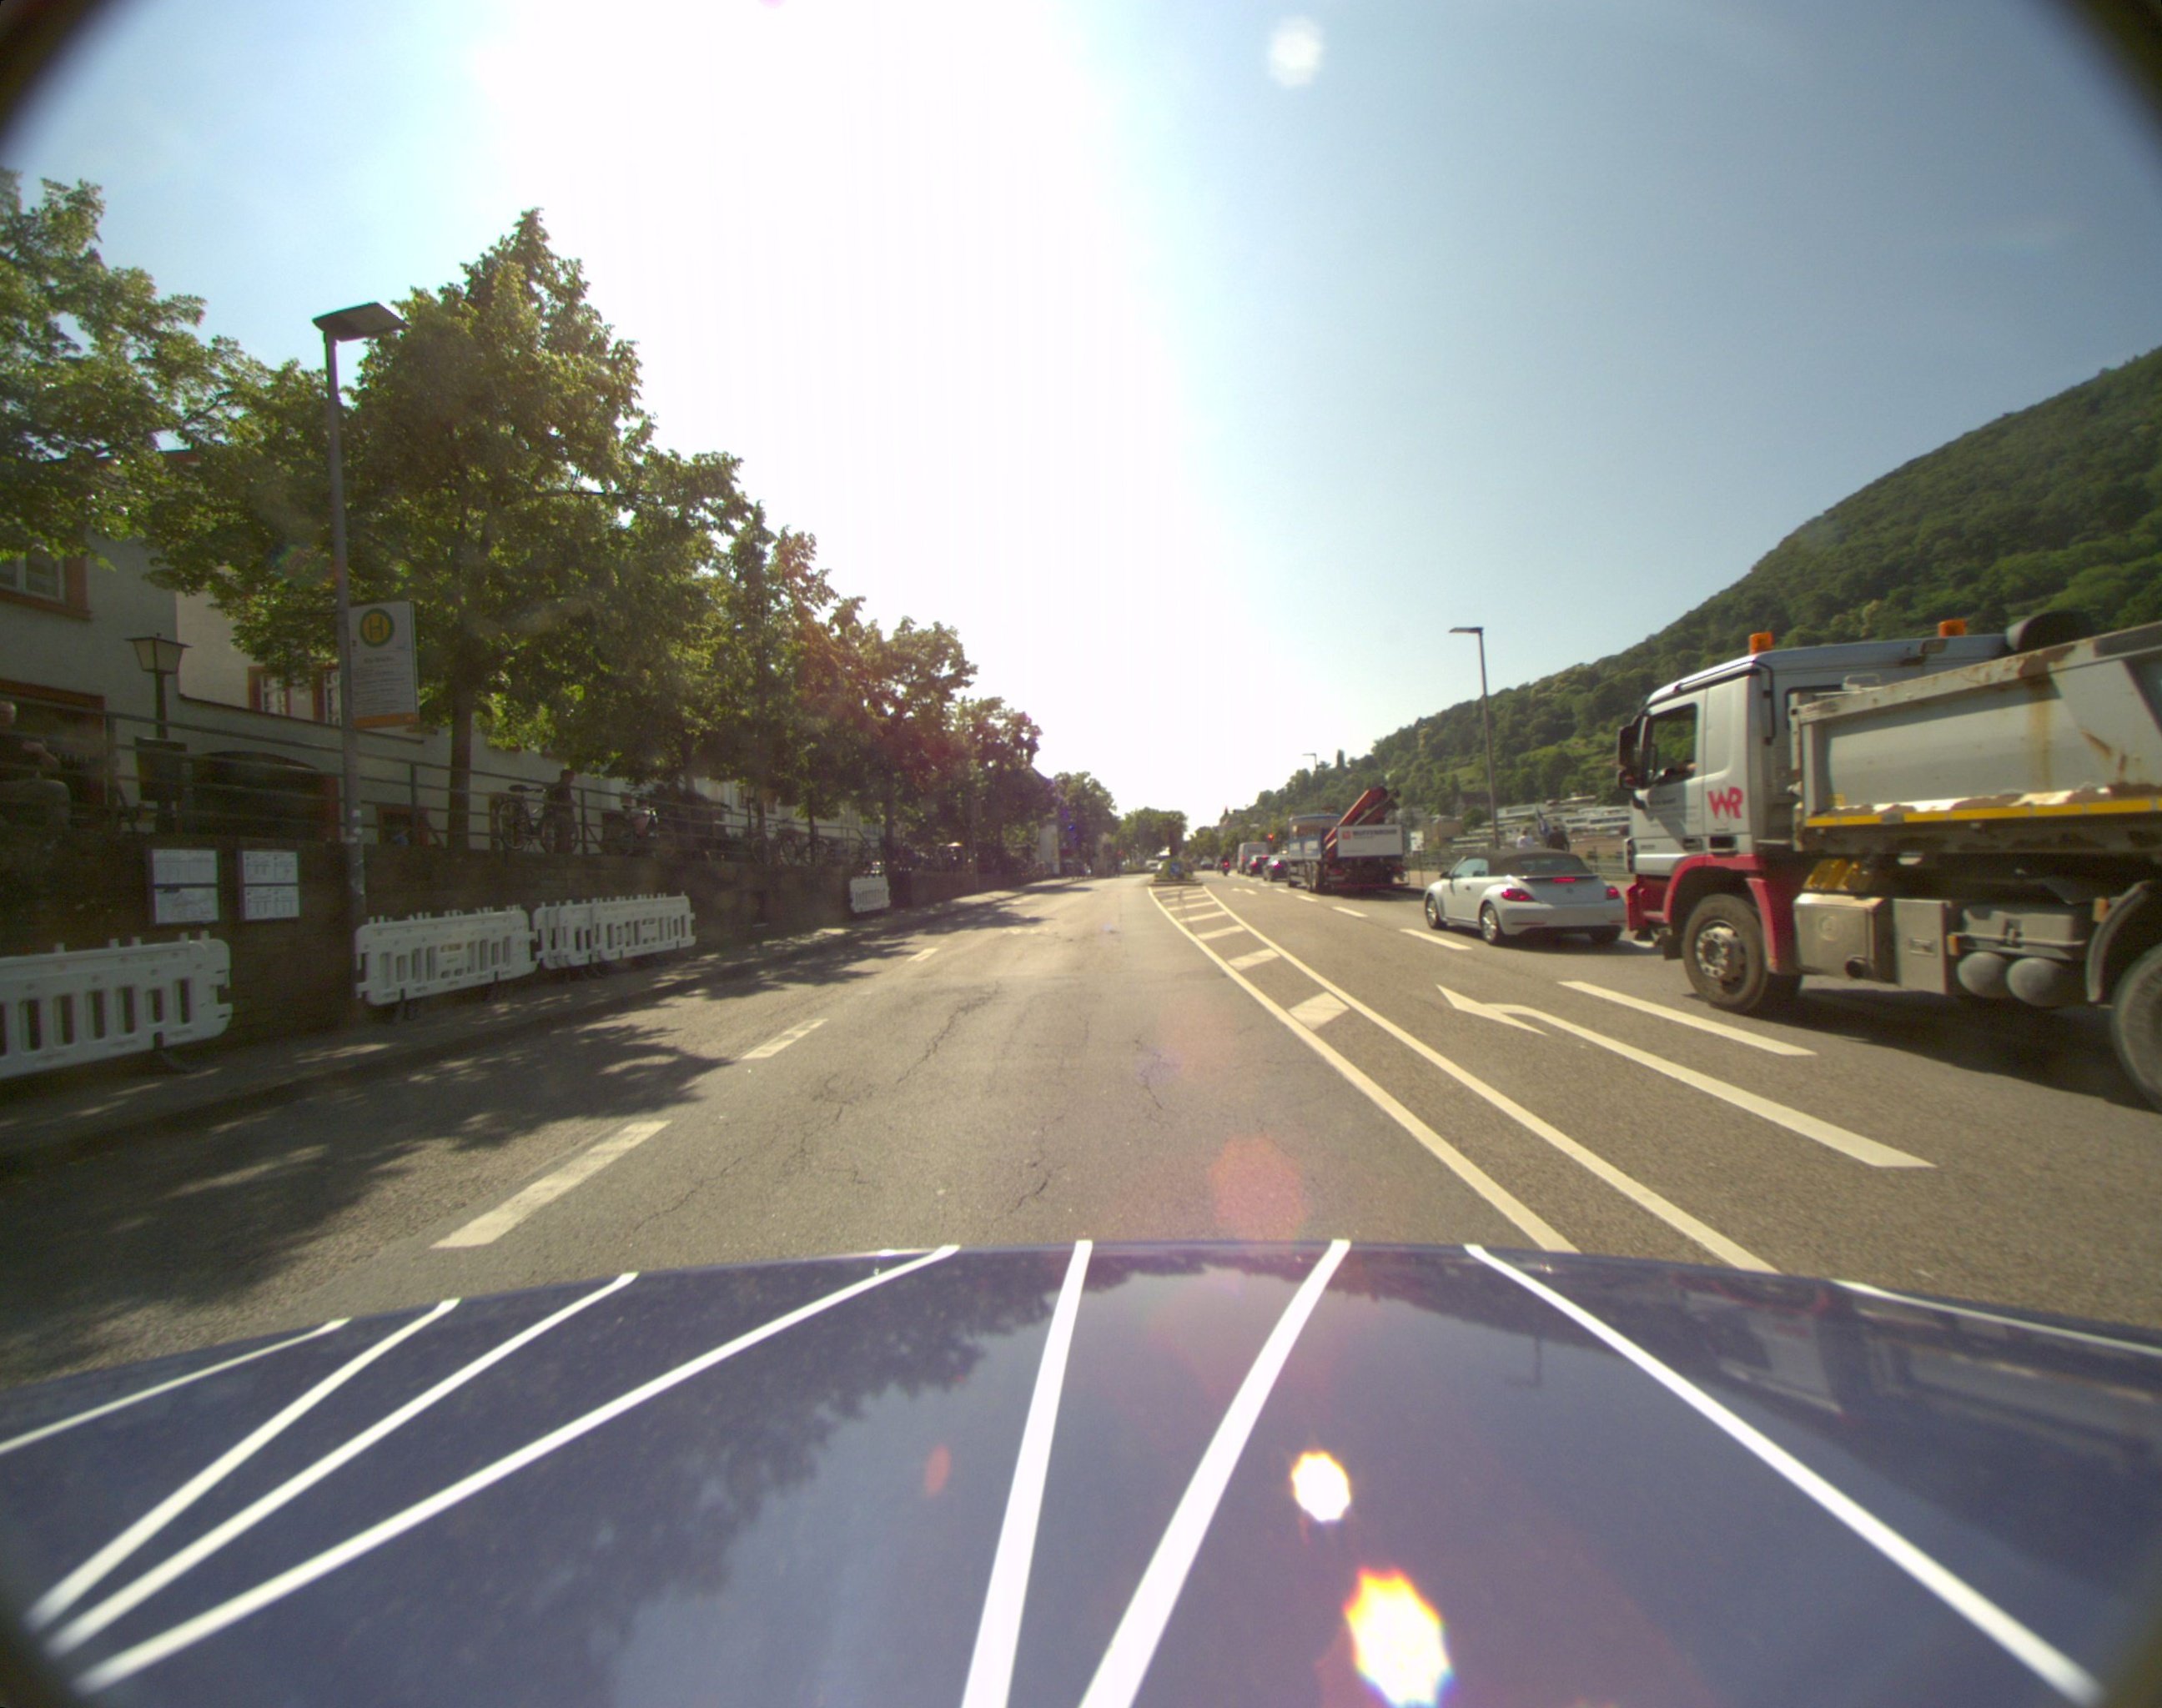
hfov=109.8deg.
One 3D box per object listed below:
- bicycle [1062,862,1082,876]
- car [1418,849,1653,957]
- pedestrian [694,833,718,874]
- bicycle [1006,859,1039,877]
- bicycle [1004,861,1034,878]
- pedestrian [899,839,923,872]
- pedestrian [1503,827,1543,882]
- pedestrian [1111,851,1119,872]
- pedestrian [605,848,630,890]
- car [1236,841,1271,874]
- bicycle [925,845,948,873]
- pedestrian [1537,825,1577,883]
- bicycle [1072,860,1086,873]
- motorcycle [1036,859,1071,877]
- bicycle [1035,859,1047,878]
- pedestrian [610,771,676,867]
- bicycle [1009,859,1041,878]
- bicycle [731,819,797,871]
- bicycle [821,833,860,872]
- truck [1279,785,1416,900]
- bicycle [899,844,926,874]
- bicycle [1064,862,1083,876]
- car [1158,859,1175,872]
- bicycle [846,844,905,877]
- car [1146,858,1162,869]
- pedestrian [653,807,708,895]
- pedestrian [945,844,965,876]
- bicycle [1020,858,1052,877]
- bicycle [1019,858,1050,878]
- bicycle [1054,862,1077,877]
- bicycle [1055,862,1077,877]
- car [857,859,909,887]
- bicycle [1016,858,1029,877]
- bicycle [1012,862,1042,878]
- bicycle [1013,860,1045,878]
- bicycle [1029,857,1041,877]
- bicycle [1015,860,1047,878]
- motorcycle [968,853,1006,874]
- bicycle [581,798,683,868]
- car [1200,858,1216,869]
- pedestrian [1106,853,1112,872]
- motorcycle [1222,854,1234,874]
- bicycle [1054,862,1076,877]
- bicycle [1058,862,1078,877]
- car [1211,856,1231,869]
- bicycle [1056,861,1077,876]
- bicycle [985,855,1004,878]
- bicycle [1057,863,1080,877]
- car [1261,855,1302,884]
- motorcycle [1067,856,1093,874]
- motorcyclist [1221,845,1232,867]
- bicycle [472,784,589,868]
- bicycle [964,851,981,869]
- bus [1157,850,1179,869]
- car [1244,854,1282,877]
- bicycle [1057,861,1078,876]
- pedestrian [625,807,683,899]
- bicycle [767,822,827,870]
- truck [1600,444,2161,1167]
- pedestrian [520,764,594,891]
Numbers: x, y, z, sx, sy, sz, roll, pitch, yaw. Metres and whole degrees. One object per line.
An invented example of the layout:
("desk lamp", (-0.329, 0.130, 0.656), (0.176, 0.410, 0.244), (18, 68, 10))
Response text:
("bicycle", (-0.750, 1.248, 62.890), (1.628, 1.163, 0.426), (-1, -1, 25))
("car", (7.151, 0.678, 12.485), (1.781, 1.435, 3.999), (-2, 0, 6))
("pedestrian", (-14.470, -0.036, 29.317), (0.469, 1.536, 0.608), (-4, 0, 8))
("bicycle", (-3.939, 0.945, 51.532), (2.159, 1.254, 0.477), (-1, 0, 6))
("bicycle", (-4.136, 1.036, 50.561), (1.953, 1.094, 0.423), (-1, 0, 6))
("pedestrian", (-6.540, 0.060, 29.215), (0.696, 1.257, 0.670), (-2, 0, 2))
("pedestrian", (14.381, 0.014, 24.735), (0.713, 1.696, 0.846), (-5, 0, 8))
("pedestrian", (3.020, 0.661, 67.310), (0.541, 1.767, 0.583), (-1, -1, 11))
("pedestrian", (-16.863, 0.537, 27.662), (0.345, 1.479, 0.325), (-4, 14, 8))
("car", (13.703, 0.284, 60.462), (2.199, 2.511, 4.751), (0, 0, 6))
("bicycle", (-5.425, 0.192, 28.581), (0.298, 0.998, 1.942), (-2, -1, 5))
("pedestrian", (15.240, 0.000, 24.348), (0.769, 1.793, 0.636), (-5, 0, 8))
("bicycle", (-0.155, 0.995, 59.733), (0.539, 1.002, 1.756), (-2, -1, 18))
("motorcycle", (-2.052, 1.033, 56.867), (2.531, 1.267, 0.725), (-2, 0, 29))
("bicycle", (-2.674, 0.948, 50.855), (0.476, 1.254, 2.163), (-1, 0, 5))
("pedestrian", (-8.114, -0.635, 14.110), (0.720, 1.710, 0.712), (-2, 0, 6))
("bicycle", (-3.822, 0.969, 51.986), (2.159, 1.254, 0.421), (-1, 0, 6))
("bicycle", (-7.078, -0.189, 17.045), (0.410, 1.099, 1.736), (-2, 0, 11))
("bicycle", (-7.417, -0.028, 23.460), (0.382, 1.133, 1.935), (-2, -1, 5))
("truck", (9.659, -0.316, 28.972), (2.647, 3.455, 11.114), (-2, 0, 8))
("bicycle", (-5.853, 0.190, 26.477), (0.298, 0.998, 1.861), (-2, -1, 5))
("bicycle", (-0.623, 1.260, 63.171), (1.628, 1.163, 0.367), (-1, -1, 25))
("car", (10.911, 1.436, 96.662), (1.997, 1.497, 4.595), (-2, -1, 9))
("bicycle", (-6.774, 0.213, 25.100), (1.858, 0.998, 0.299), (-2, -1, 4))
("car", (13.129, 1.679, 136.947), (1.999, 1.750, 4.589), (-3, 1, -3))
("pedestrian", (-8.097, -0.061, 15.363), (0.720, 1.710, 0.573), (-2, 0, 6))
("pedestrian", (-5.630, 0.279, 34.004), (0.669, 1.406, 0.697), (-2, 0, 6))
("bicycle", (-3.246, 0.998, 54.854), (2.159, 1.360, 0.584), (-1, 0, 7))
("bicycle", (-3.317, 0.996, 54.316), (2.159, 1.360, 0.477), (-1, 0, 6))
("bicycle", (-1.199, 1.219, 59.484), (1.752, 1.126, 0.464), (0, 0, 2))
("bicycle", (-1.195, 1.212, 59.922), (1.752, 1.126, 0.464), (0, 0, 2))
("car", (-13.751, 1.356, 53.123), (1.835, 1.789, 4.740), (-2, -2, 7))
("bicycle", (-3.422, 0.795, 44.359), (0.301, 1.042, 2.164), (-1, -1, 8))
("bicycle", (-3.716, 1.085, 52.373), (2.027, 1.086, 0.338), (-1, 0, 6))
("bicycle", (-3.605, 1.048, 52.795), (2.159, 1.254, 0.477), (-1, 0, 6))
("bicycle", (-2.946, 0.834, 48.611), (0.476, 1.254, 2.163), (-1, 0, 5))
("bicycle", (-3.517, 1.049, 53.295), (2.159, 1.254, 0.477), (-1, 0, 6))
("motorcycle", (-4.945, 0.504, 40.048), (1.920, 1.092, 0.575), (-1, 0, -1))
("bicycle", (-7.576, -0.326, 12.919), (0.410, 1.099, 1.736), (-2, 0, 11))
("car", (17.988, 1.366, 107.728), (1.907, 1.428, 3.894), (-3, 0, 7))
("pedestrian", (2.523, 0.761, 68.486), (0.541, 1.767, 0.583), (-1, -1, 5))
("motorcycle", (10.700, 0.717, 55.469), (0.727, 1.379, 2.513), (-2, 0, 9))
("bicycle", (-1.241, 1.225, 59.015), (1.752, 1.126, 0.464), (0, 0, 2))
("bicycle", (-1.036, 1.226, 61.939), (1.631, 1.210, 0.414), (0, 0, 2))
("car", (16.921, 1.000, 92.032), (1.997, 1.444, 4.264), (-4, -1, 7))
("bicycle", (-1.173, 1.163, 60.660), (1.631, 1.126, 0.414), (0, 0, 2))
("bicycle", (-4.281, 0.601, 37.890), (0.345, 1.106, 1.920), (-2, 0, 11))
("bicycle", (-0.949, 1.224, 58.514), (1.753, 1.126, 0.540), (0, 0, 0))
("car", (10.865, 0.783, 41.374), (1.660, 1.428, 4.083), (-2, 0, 9))
("motorcycle", (-0.067, 0.931, 64.206), (2.196, 1.518, 0.800), (-3, 0, 43))
("motorcyclist", (10.666, 0.142, 55.781), (0.703, 1.517, 0.861), (-2, 0, 9))
("bicycle", (-7.870, -0.365, 10.962), (0.411, 1.099, 1.734), (-2, 0, -1))
("bicycle", (-4.829, 0.273, 33.856), (0.350, 0.779, 1.920), (-2, -1, 4))
("bus", (16.901, 1.099, 147.751), (2.656, 3.367, 10.794), (-2, 0, -1))
("car", (12.470, 0.757, 52.317), (1.997, 1.410, 4.923), (-2, 0, 8))
("bicycle", (-1.085, 1.149, 61.085), (1.631, 1.210, 0.414), (0, 0, 2))
("pedestrian", (-8.284, -0.017, 14.754), (0.720, 1.710, 0.573), (-2, 0, 6))
("bicycle", (-6.969, -0.178, 18.736), (0.410, 1.099, 1.926), (-2, 0, 11))
("truck", (6.536, -0.250, 4.193), (2.647, 3.436, 7.875), (-1, 0, 6))
("pedestrian", (-9.303, -0.452, 13.501), (0.720, 2.176, 0.712), (-2, 0, 6))
